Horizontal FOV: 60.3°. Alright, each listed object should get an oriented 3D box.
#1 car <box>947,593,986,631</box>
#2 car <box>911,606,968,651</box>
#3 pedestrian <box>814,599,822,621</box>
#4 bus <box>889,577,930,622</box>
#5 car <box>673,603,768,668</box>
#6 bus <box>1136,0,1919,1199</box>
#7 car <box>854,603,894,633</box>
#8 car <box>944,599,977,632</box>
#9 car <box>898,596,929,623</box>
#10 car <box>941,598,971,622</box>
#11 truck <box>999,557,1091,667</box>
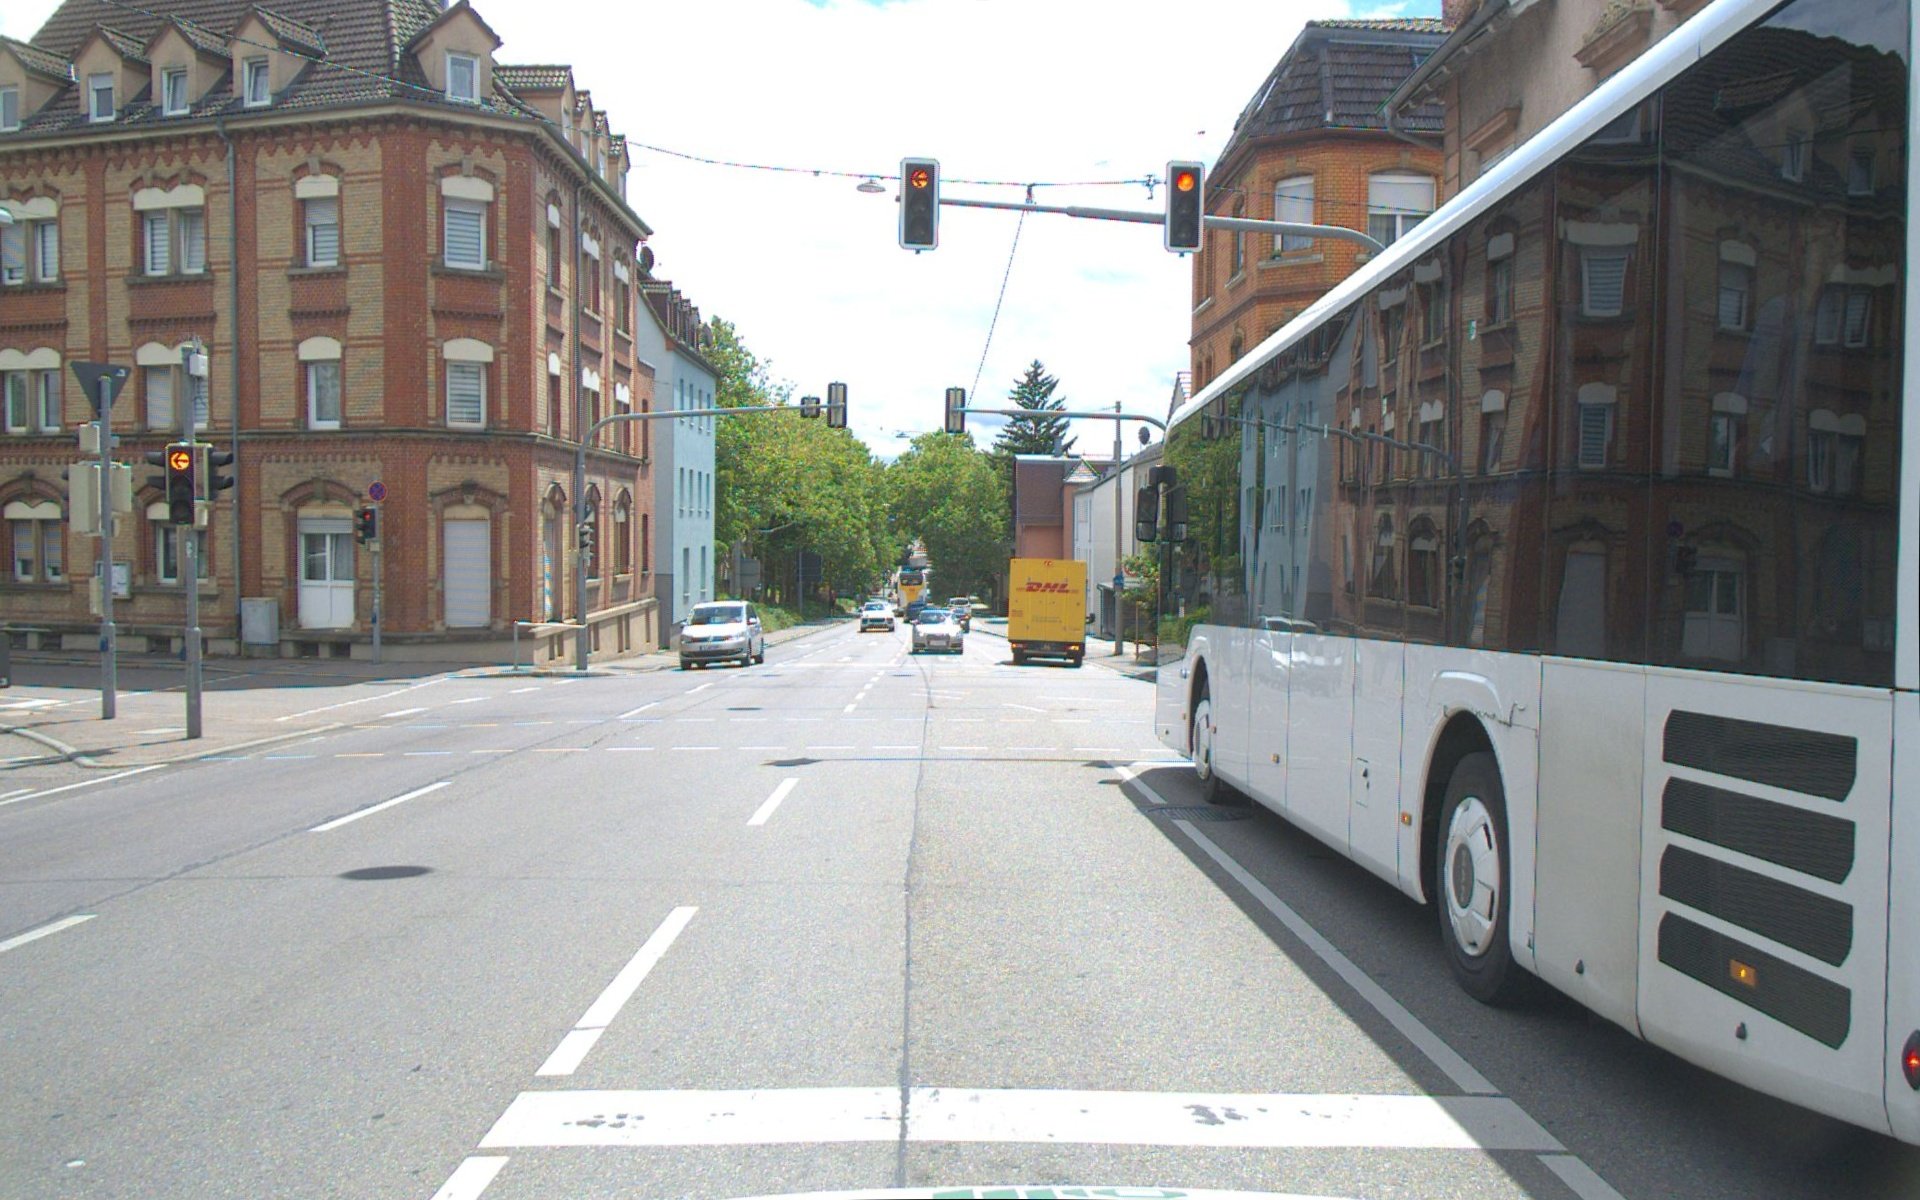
[{"bbox_3d":[0.352,0.655,92.482,1.954,2.049,3.998,-1,0,-3],"label":"car"},{"bbox_3d":[-0.687,0.930,55.048,1.827,1.391,4.546,0,0,-1],"label":"car"},{"bbox_3d":[-11.710,0.850,136.222,0.594,1.789,0.653,0,0,-2],"label":"pedestrian"},{"bbox_3d":[-4.459,-0.061,143.963,3.235,3.694,11.237,-1,0,-3],"label":"bus"},{"bbox_3d":[-6.191,0.892,43.213,1.896,1.591,4.388,0,0,-1],"label":"car"},{"bbox_3d":[3.207,-0.353,9.413,2.845,3.571,12.484,1,0,-1],"label":"bus"},{"bbox_3d":[-4.924,0.996,95.190,2.162,1.641,4.546,0,0,-1],"label":"car"},{"bbox_3d":[-0.012,0.854,92.425,1.782,1.816,3.999,0,0,-1],"label":"car"},{"bbox_3d":[-3.351,0.657,118.593,2.050,1.862,4.139,0,0,-4],"label":"car"},{"bbox_3d":[-0.322,0.768,129.534,2.050,1.862,4.139,0,0,-4],"label":"car"},{"bbox_3d":[2.524,0.347,48.493,2.488,2.964,6.575,1,0,4],"label":"truck"}]
